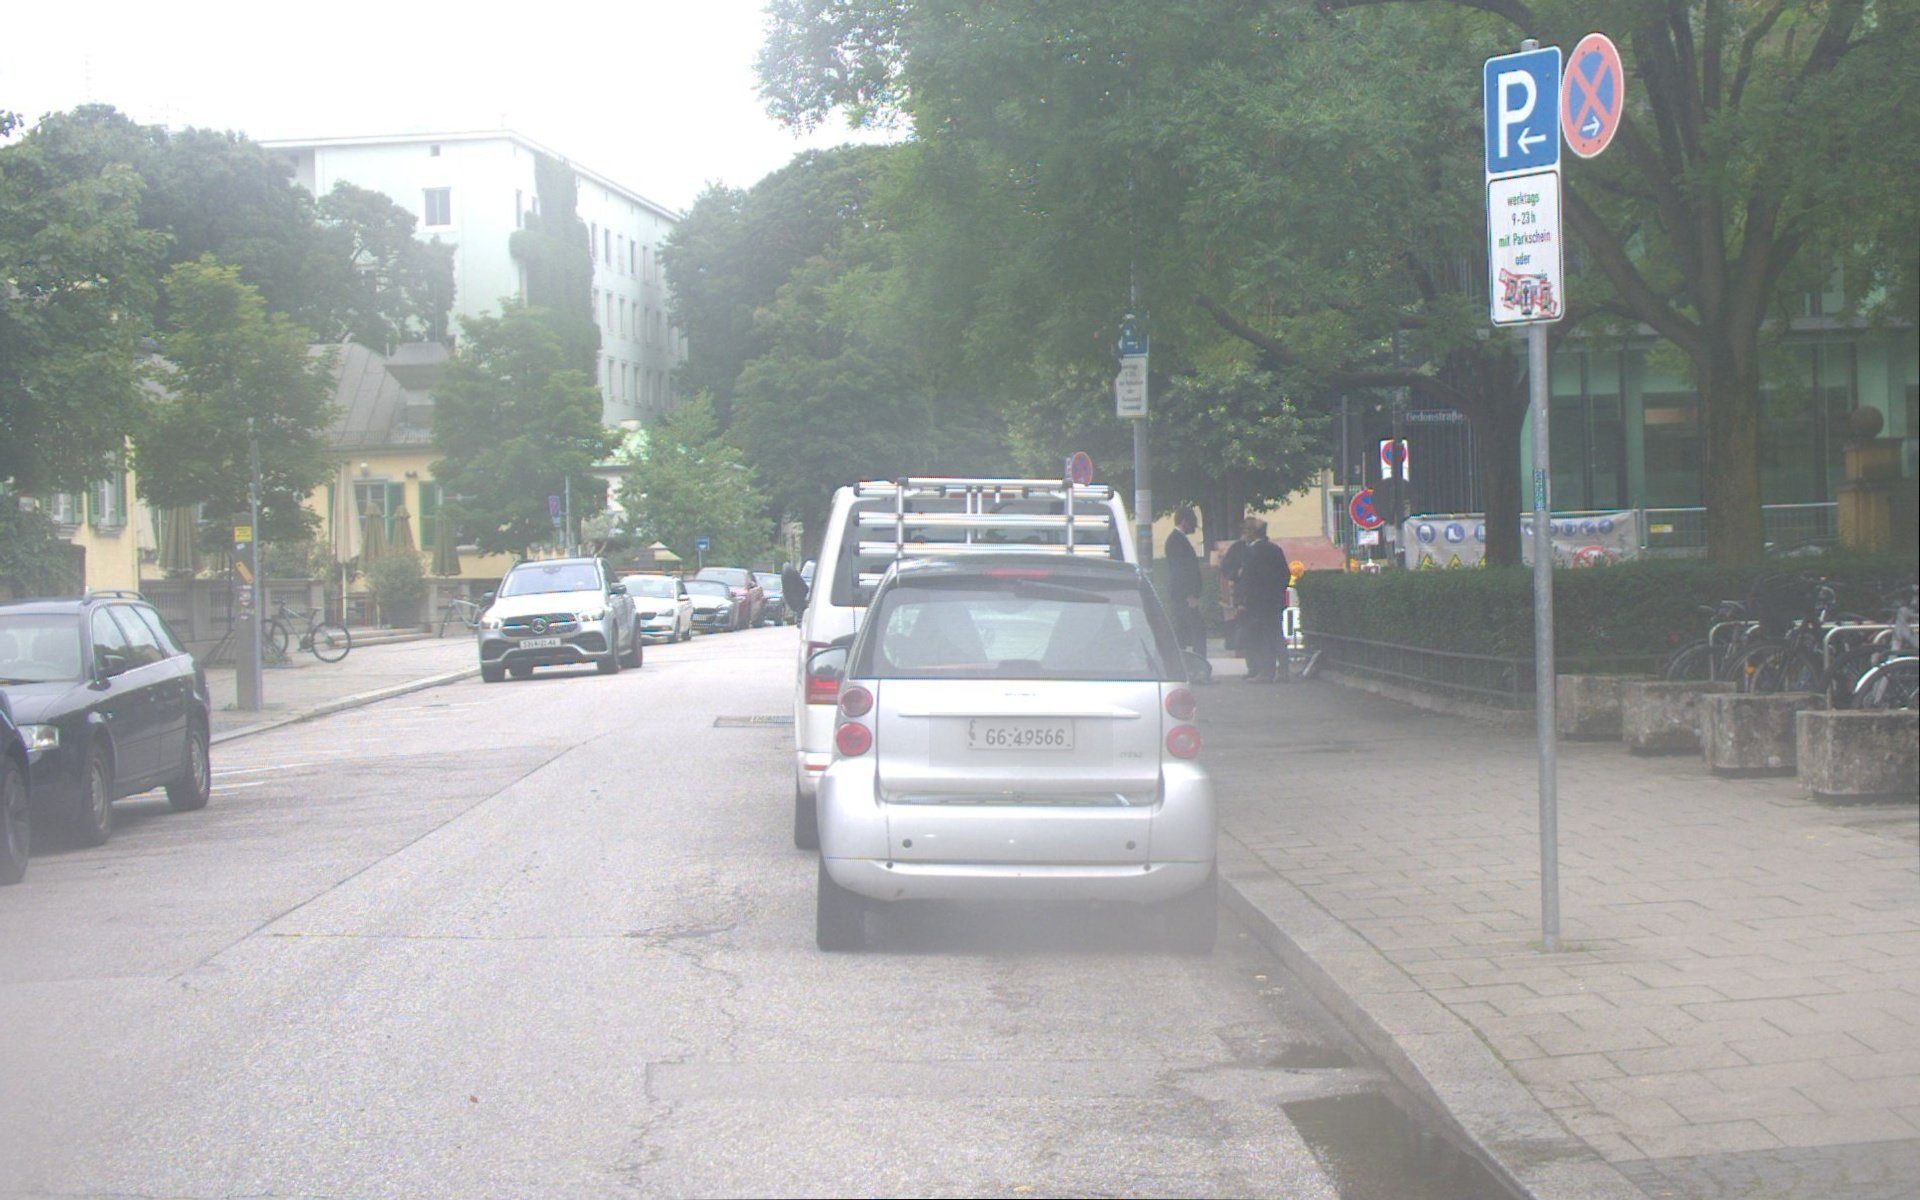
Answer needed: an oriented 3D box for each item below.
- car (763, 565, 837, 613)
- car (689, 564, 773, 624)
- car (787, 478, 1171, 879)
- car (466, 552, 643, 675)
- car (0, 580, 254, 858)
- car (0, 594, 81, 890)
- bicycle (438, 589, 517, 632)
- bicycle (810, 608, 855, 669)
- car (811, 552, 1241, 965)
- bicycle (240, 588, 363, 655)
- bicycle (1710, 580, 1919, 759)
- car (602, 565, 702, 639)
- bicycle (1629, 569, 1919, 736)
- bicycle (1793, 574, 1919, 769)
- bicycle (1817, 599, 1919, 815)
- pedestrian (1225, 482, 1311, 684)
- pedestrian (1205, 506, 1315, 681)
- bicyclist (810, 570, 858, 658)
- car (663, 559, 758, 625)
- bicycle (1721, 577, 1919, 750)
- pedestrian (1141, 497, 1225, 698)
[{"bbox_3d":[-5.220,-0.372,112.778,1.994,1.481,4.000,-1,1,3],"label":"car"},{"bbox_3d":[-6.301,-0.155,94.915,1.993,1.597,4.000,-1,0,0],"label":"car"},{"bbox_3d":[-0.008,0.358,19.562,1.845,1.926,5.273,2,1,-2],"label":"car"},{"bbox_3d":[-5.980,0.161,51.258,2.024,1.683,4.677,-2,1,0],"label":"car"},{"bbox_3d":[-5.898,0.676,21.305,1.993,1.485,4.883,-3,1,0],"label":"car"},{"bbox_3d":[-5.620,0.742,16.047,1.922,1.434,4.918,-3,0,-3],"label":"car"},{"bbox_3d":[-10.775,0.239,76.787,1.613,0.922,0.651,-1,-1,-25],"label":"bicycle"},{"bbox_3d":[-2.047,0.611,55.355,0.626,0.952,1.860,2,0,0],"label":"bicycle"},{"bbox_3d":[0.224,0.582,14.465,1.605,1.541,2.934,1,1,-1],"label":"car"},{"bbox_3d":[-11.059,0.357,57.792,1.930,1.095,0.615,1,1,2],"label":"bicycle"},{"bbox_3d":[5.982,0.442,22.658,1.931,1.110,0.471,-2,1,1],"label":"bicycle"},{"bbox_3d":[-6.897,0.030,77.236,1.734,1.576,3.787,2,1,2],"label":"car"},{"bbox_3d":[5.939,0.371,24.936,2.031,1.110,0.471,-2,1,-4],"label":"bicycle"},{"bbox_3d":[5.968,0.394,20.335,1.931,1.110,0.471,-2,1,1],"label":"bicycle"},{"bbox_3d":[5.629,0.535,18.390,1.931,1.110,0.471,-2,1,-4],"label":"bicycle"},{"bbox_3d":[3.318,-0.186,37.129,0.742,2.127,1.056,-2,0,-2],"label":"pedestrian"},{"bbox_3d":[3.348,-0.081,38.291,0.744,1.901,1.054,-2,1,35],"label":"pedestrian"},{"bbox_3d":[-2.026,0.217,55.345,0.704,1.388,0.868,2,0,0],"label":"bicyclist"},{"bbox_3d":[-6.491,-0.232,89.830,1.993,1.643,4.655,-1,1,2],"label":"car"},{"bbox_3d":[6.233,0.419,23.451,1.931,1.110,0.471,-2,1,1],"label":"bicycle"},{"bbox_3d":[2.415,-0.035,37.310,0.742,2.127,1.056,-2,0,-2],"label":"pedestrian"}]
